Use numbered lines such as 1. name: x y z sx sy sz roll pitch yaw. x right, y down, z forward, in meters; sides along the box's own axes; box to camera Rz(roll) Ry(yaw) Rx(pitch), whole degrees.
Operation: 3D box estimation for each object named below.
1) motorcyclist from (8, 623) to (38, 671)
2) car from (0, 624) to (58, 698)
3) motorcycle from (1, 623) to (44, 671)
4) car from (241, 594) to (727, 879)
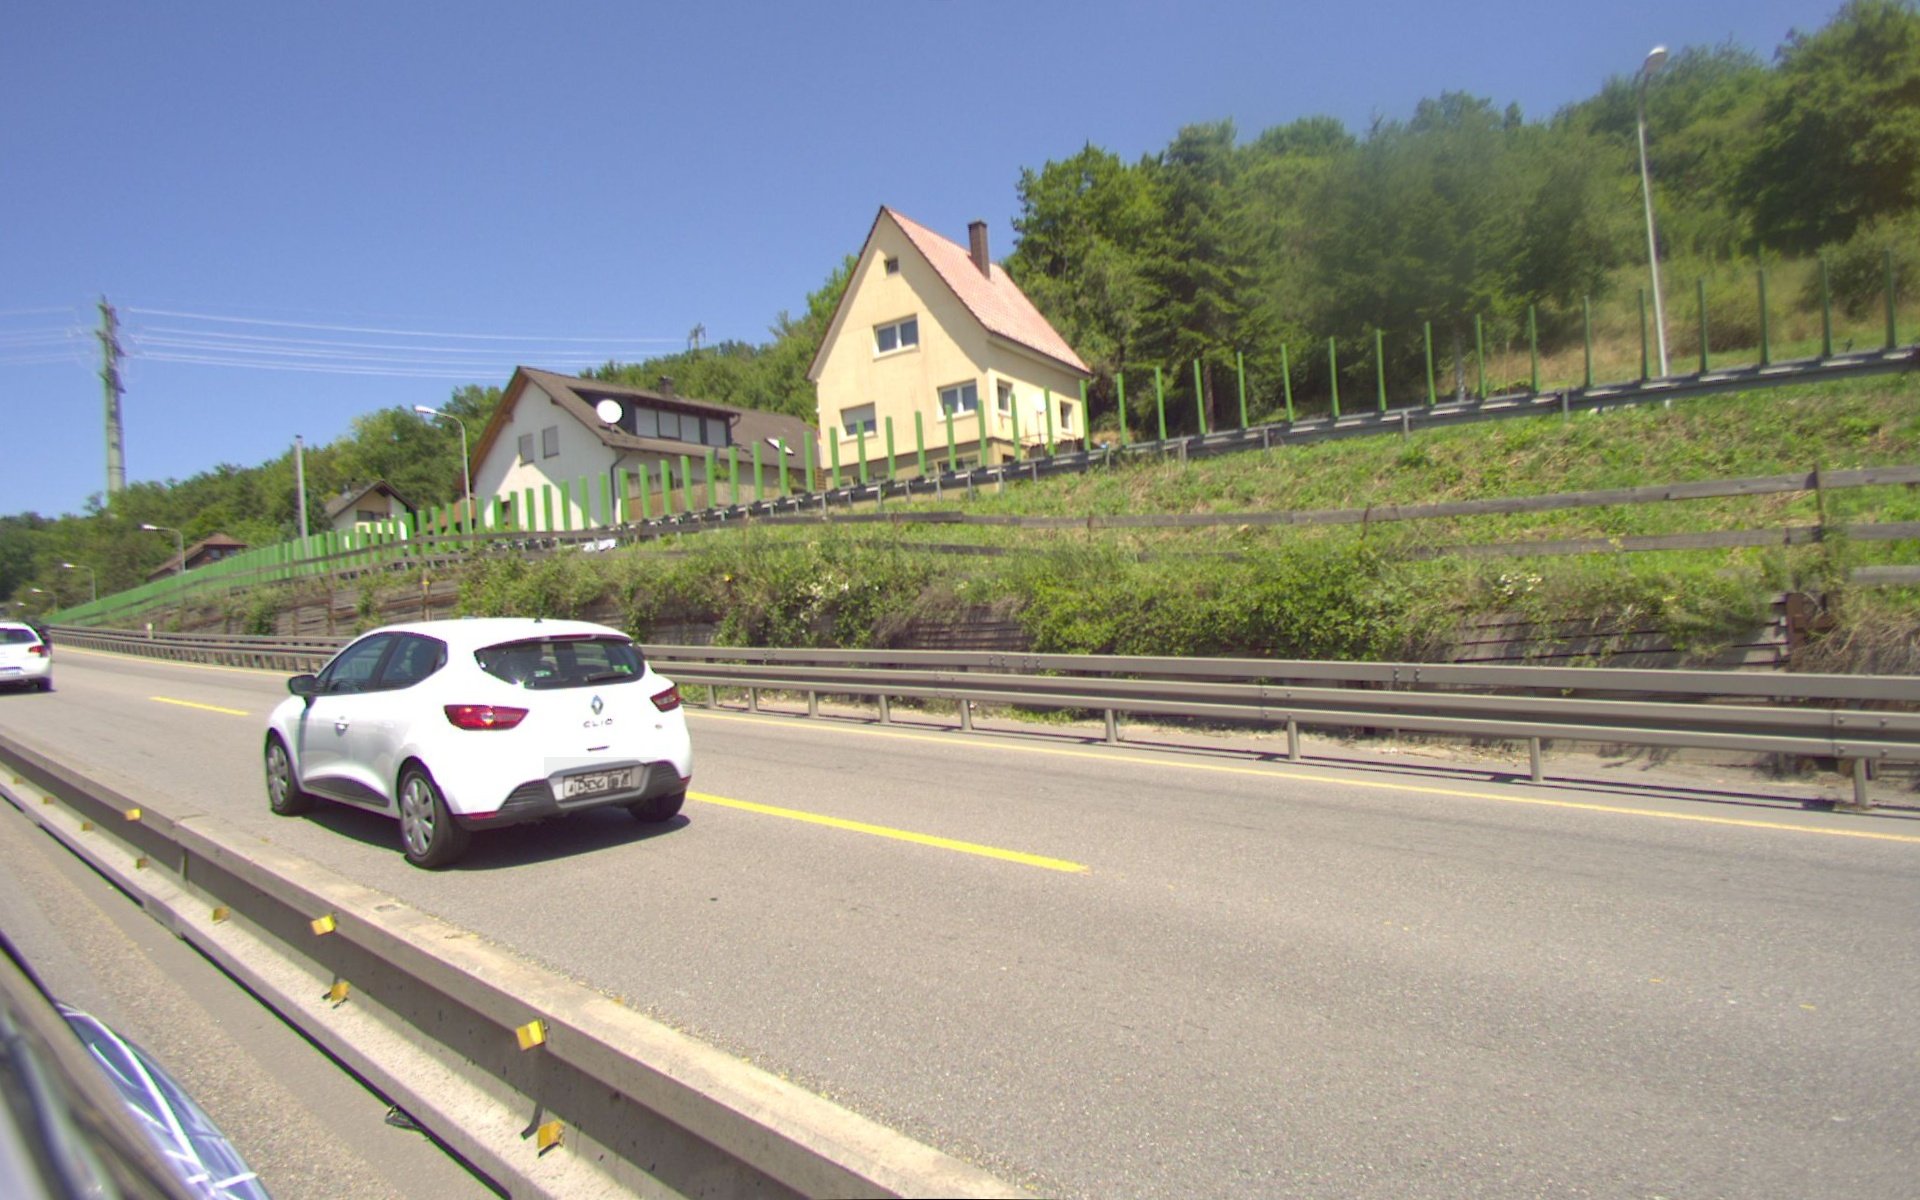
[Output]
1. motorcyclist: -32.309 1.616 34.894 0.736 1.597 0.659 -1 0 40
2. car: -21.159 1.304 21.989 3.861 1.497 1.749 -2 0 39
3. motorcycle: -32.222 1.603 34.766 2.619 1.563 0.782 -3 0 41
4. car: -3.515 0.756 7.193 3.746 1.497 1.674 -2 0 39
